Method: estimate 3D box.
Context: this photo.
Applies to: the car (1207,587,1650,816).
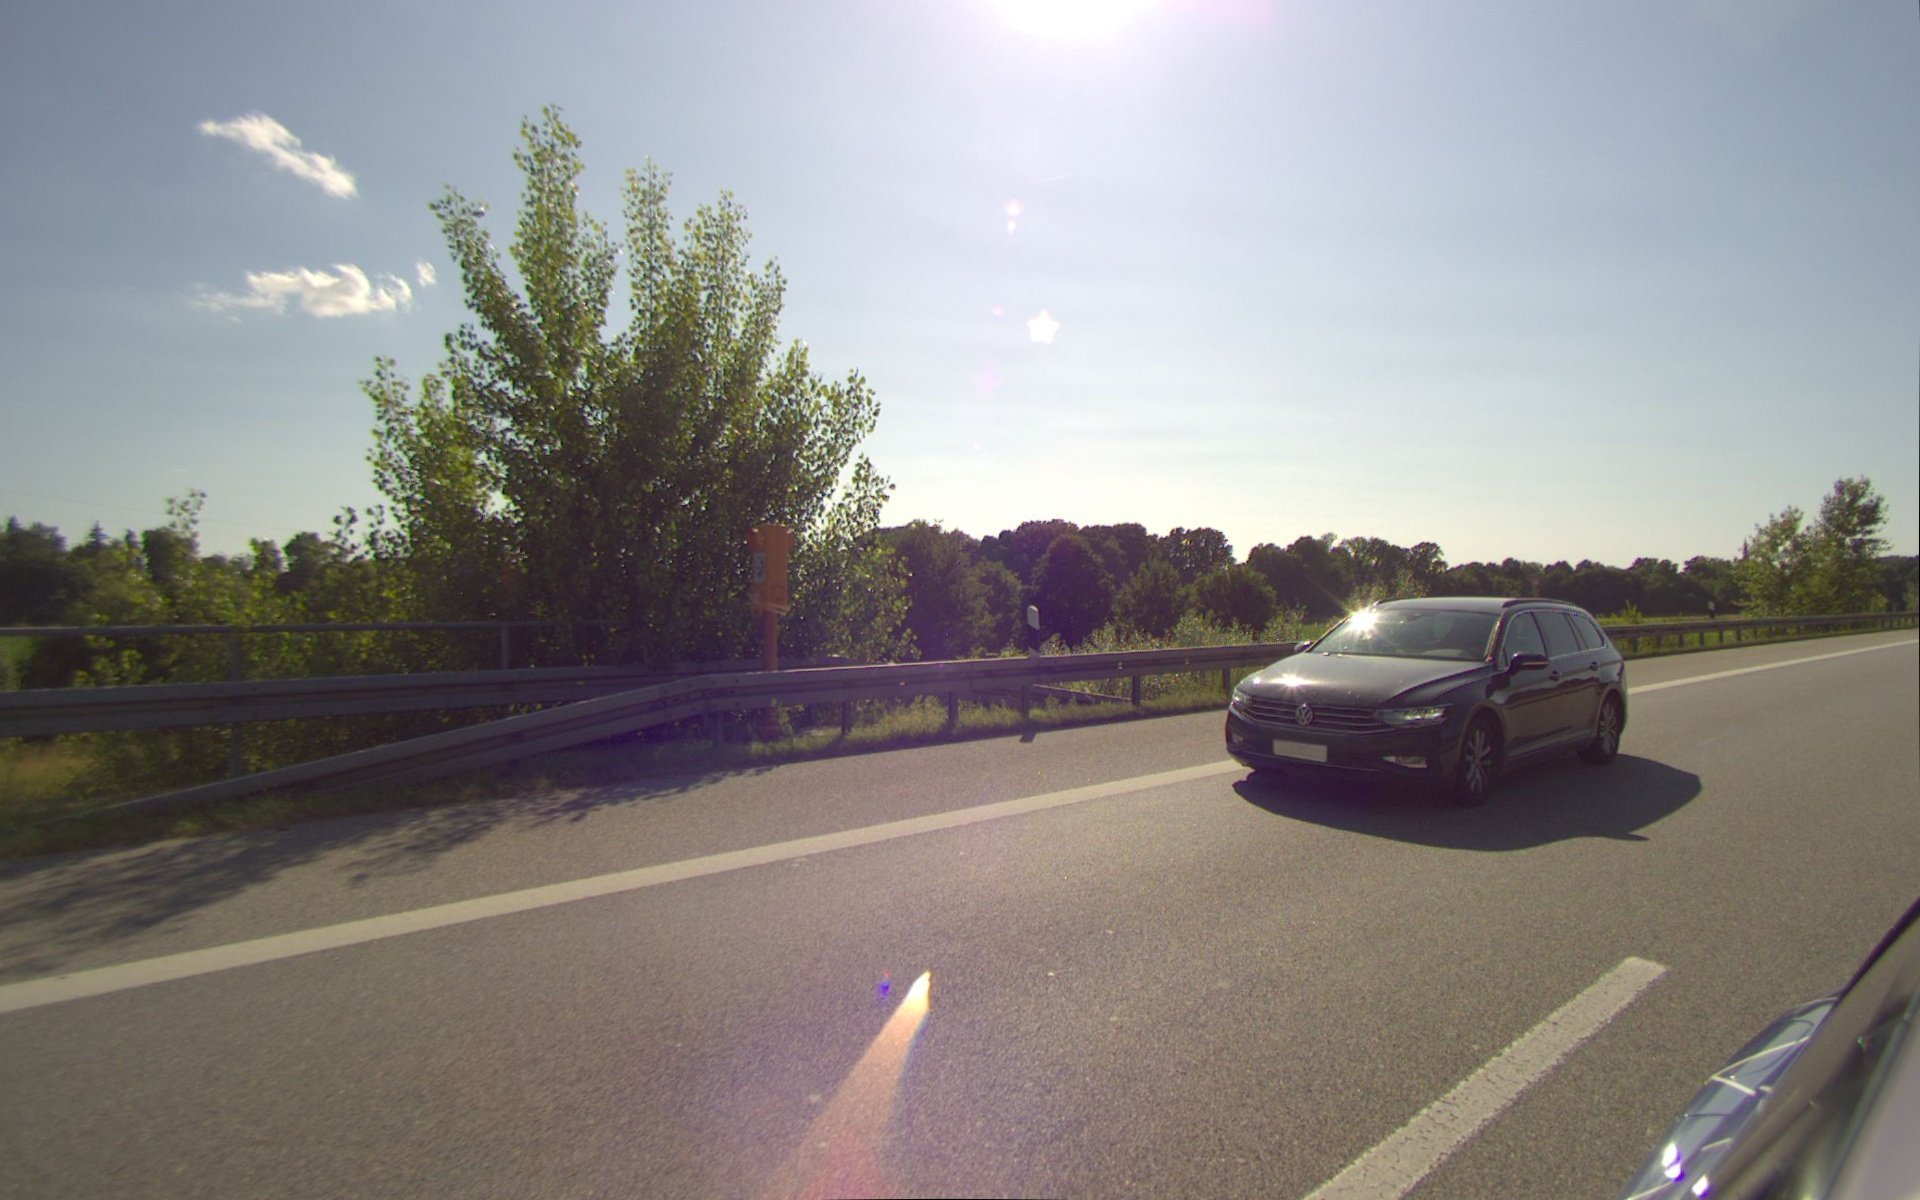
[{"bbox_3d":[4.055,0.611,8.402,4.336,1.417,1.721,-1,1,-41],"label":"car"}]
